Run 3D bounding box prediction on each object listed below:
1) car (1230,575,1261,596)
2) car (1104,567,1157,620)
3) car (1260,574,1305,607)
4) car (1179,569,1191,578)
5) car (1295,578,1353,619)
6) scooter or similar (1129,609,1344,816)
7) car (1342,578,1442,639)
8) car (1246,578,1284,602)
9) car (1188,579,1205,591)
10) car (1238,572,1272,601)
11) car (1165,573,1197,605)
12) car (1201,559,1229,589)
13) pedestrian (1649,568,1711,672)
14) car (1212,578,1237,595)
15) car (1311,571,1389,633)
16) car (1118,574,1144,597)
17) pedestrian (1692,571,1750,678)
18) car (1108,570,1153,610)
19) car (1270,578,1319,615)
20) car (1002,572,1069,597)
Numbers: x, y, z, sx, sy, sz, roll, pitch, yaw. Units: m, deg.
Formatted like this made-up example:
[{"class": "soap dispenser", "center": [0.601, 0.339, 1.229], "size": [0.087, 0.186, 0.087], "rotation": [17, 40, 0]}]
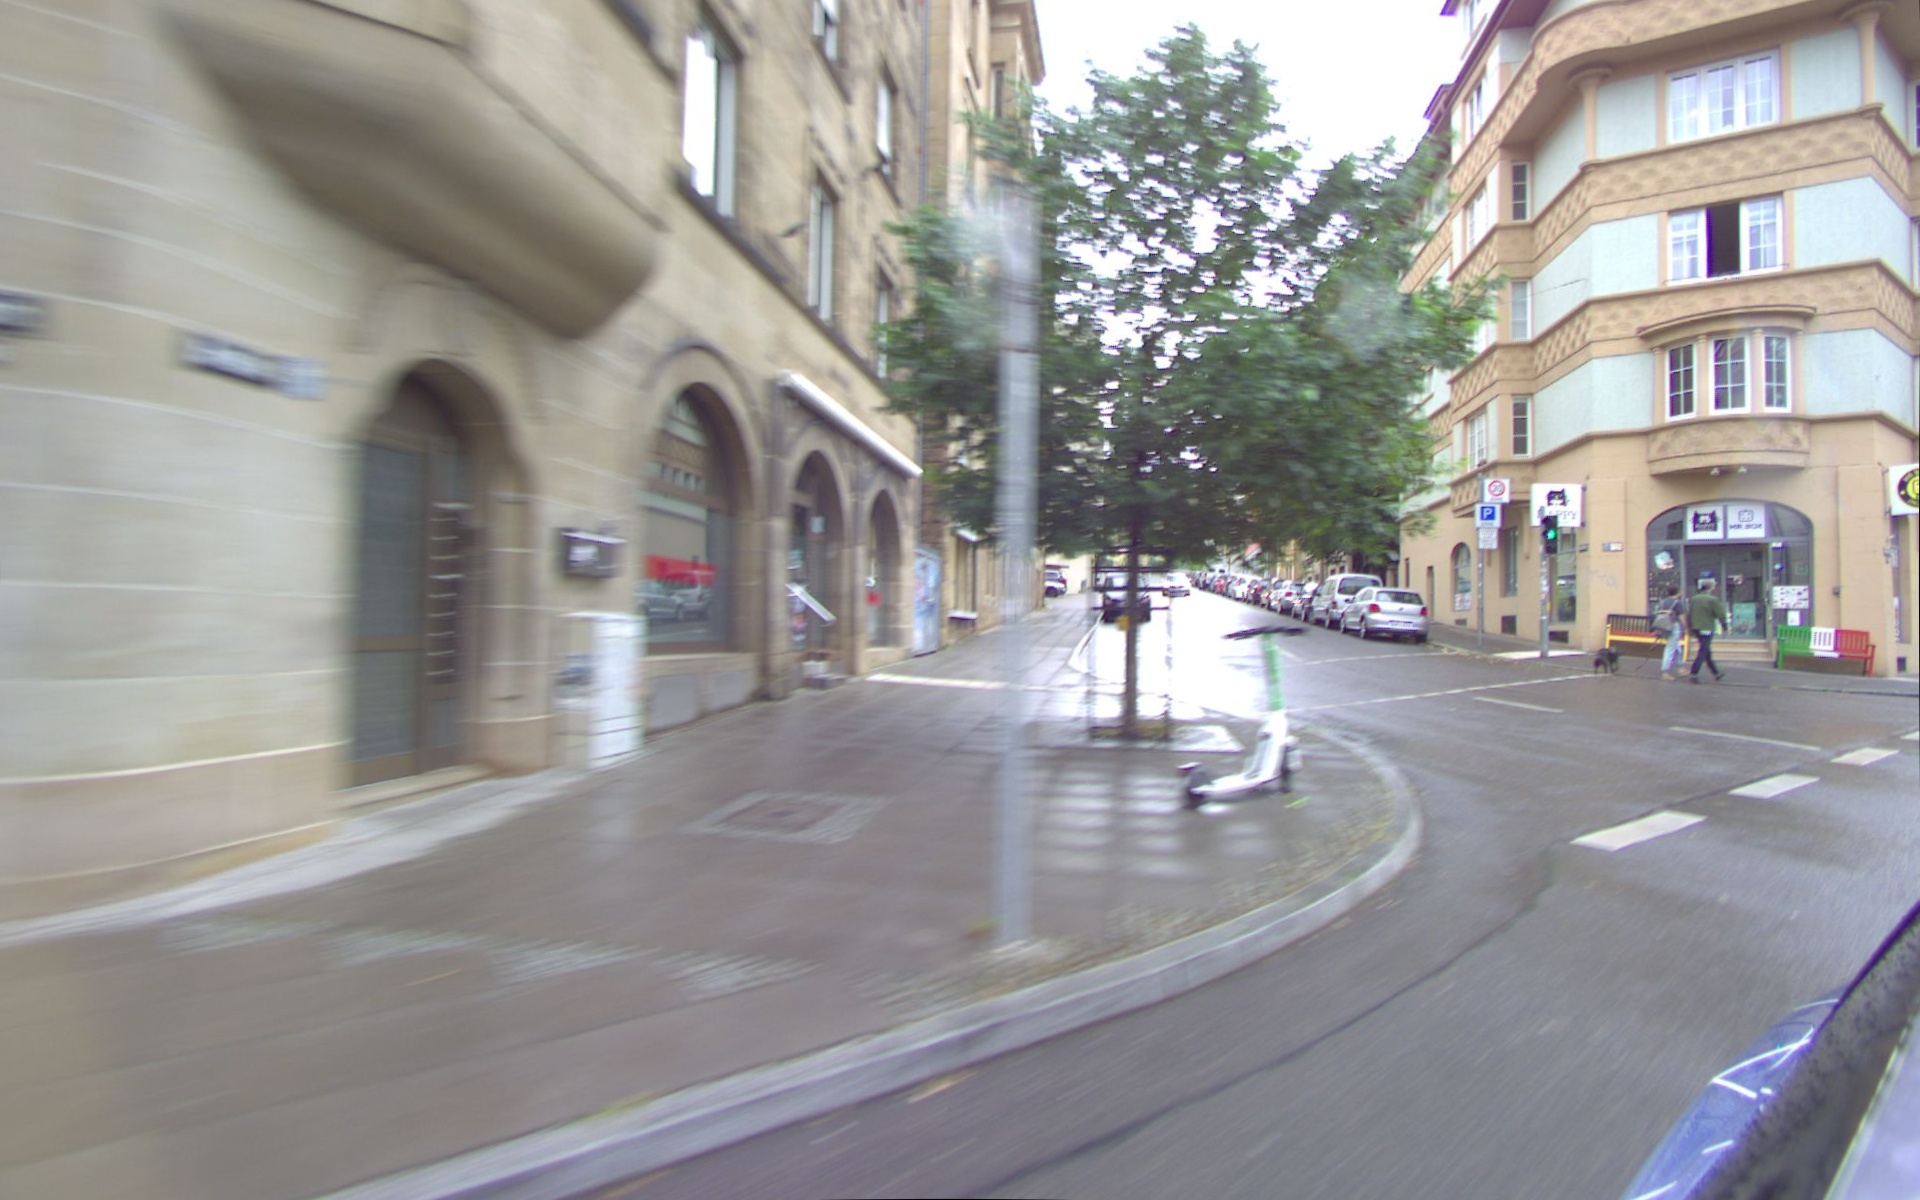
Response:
[{"class": "car", "center": [17.387, -0.871, 61.712], "size": [1.423, 1.187, 3.276], "rotation": [-2, 0, 9]}, {"class": "car", "center": [6.223, -0.267, 37.210], "size": [1.717, 1.747, 4.347], "rotation": [-2, 1, 9]}, {"class": "car", "center": [14.975, -0.456, 47.106], "size": [1.423, 1.443, 3.290], "rotation": [-2, 0, 9]}, {"class": "car", "center": [32.416, -3.769, 145.874], "size": [1.423, 1.187, 3.276], "rotation": [-2, 0, 9]}, {"class": "car", "center": [13.374, -0.076, 37.297], "size": [1.423, 1.443, 3.290], "rotation": [0, 1, 9]}, {"class": "scooter or similar", "center": [1.879, 0.677, 6.775], "size": [1.525, 1.225, 0.639], "rotation": [1, 0, -41]}, {"class": "car", "center": [11.869, 0.196, 28.028], "size": [1.663, 1.478, 3.525], "rotation": [3, 1, 9]}, {"class": "car", "center": [15.867, -0.509, 52.725], "size": [1.423, 1.139, 3.070], "rotation": [-2, 0, 9]}, {"class": "car", "center": [24.229, -1.503, 103.579], "size": [1.423, 1.187, 3.276], "rotation": [-2, 0, 9]}, {"class": "car", "center": [16.802, -0.763, 57.777], "size": [1.423, 1.594, 3.276], "rotation": [-2, 0, 9]}, {"class": "car", "center": [14.388, -0.727, 66.081], "size": [1.718, 1.896, 3.988], "rotation": [-4, 0, 10]}, {"class": "car", "center": [21.988, -2.242, 87.324], "size": [1.918, 2.488, 3.802], "rotation": [1, 0, 9]}, {"class": "pedestrian", "center": [12.963, 0.340, 18.226], "size": [0.885, 1.811, 0.683], "rotation": [1, 1, -40]}, {"class": "car", "center": [19.969, -0.989, 76.463], "size": [1.423, 1.187, 3.276], "rotation": [-2, 0, 9]}, {"class": "car", "center": [12.582, 0.049, 32.819], "size": [1.579, 1.867, 3.546], "rotation": [-2, 0, 9]}, {"class": "car", "center": [12.389, -1.042, 73.252], "size": [1.718, 1.528, 3.988], "rotation": [-4, 0, 10]}, {"class": "pedestrian", "center": [13.222, 0.412, 17.585], "size": [0.875, 1.811, 0.595], "rotation": [1, 1, -40]}, {"class": "car", "center": [7.317, -0.425, 43.330], "size": [1.718, 1.528, 3.988], "rotation": [-4, 0, 10]}, {"class": "car", "center": [14.195, -0.159, 43.045], "size": [1.423, 1.443, 3.290], "rotation": [-2, 0, 9]}, {"class": "car", "center": [4.724, -0.956, 63.012], "size": [3.939, 1.502, 1.736], "rotation": [-1, -1, 13]}]
